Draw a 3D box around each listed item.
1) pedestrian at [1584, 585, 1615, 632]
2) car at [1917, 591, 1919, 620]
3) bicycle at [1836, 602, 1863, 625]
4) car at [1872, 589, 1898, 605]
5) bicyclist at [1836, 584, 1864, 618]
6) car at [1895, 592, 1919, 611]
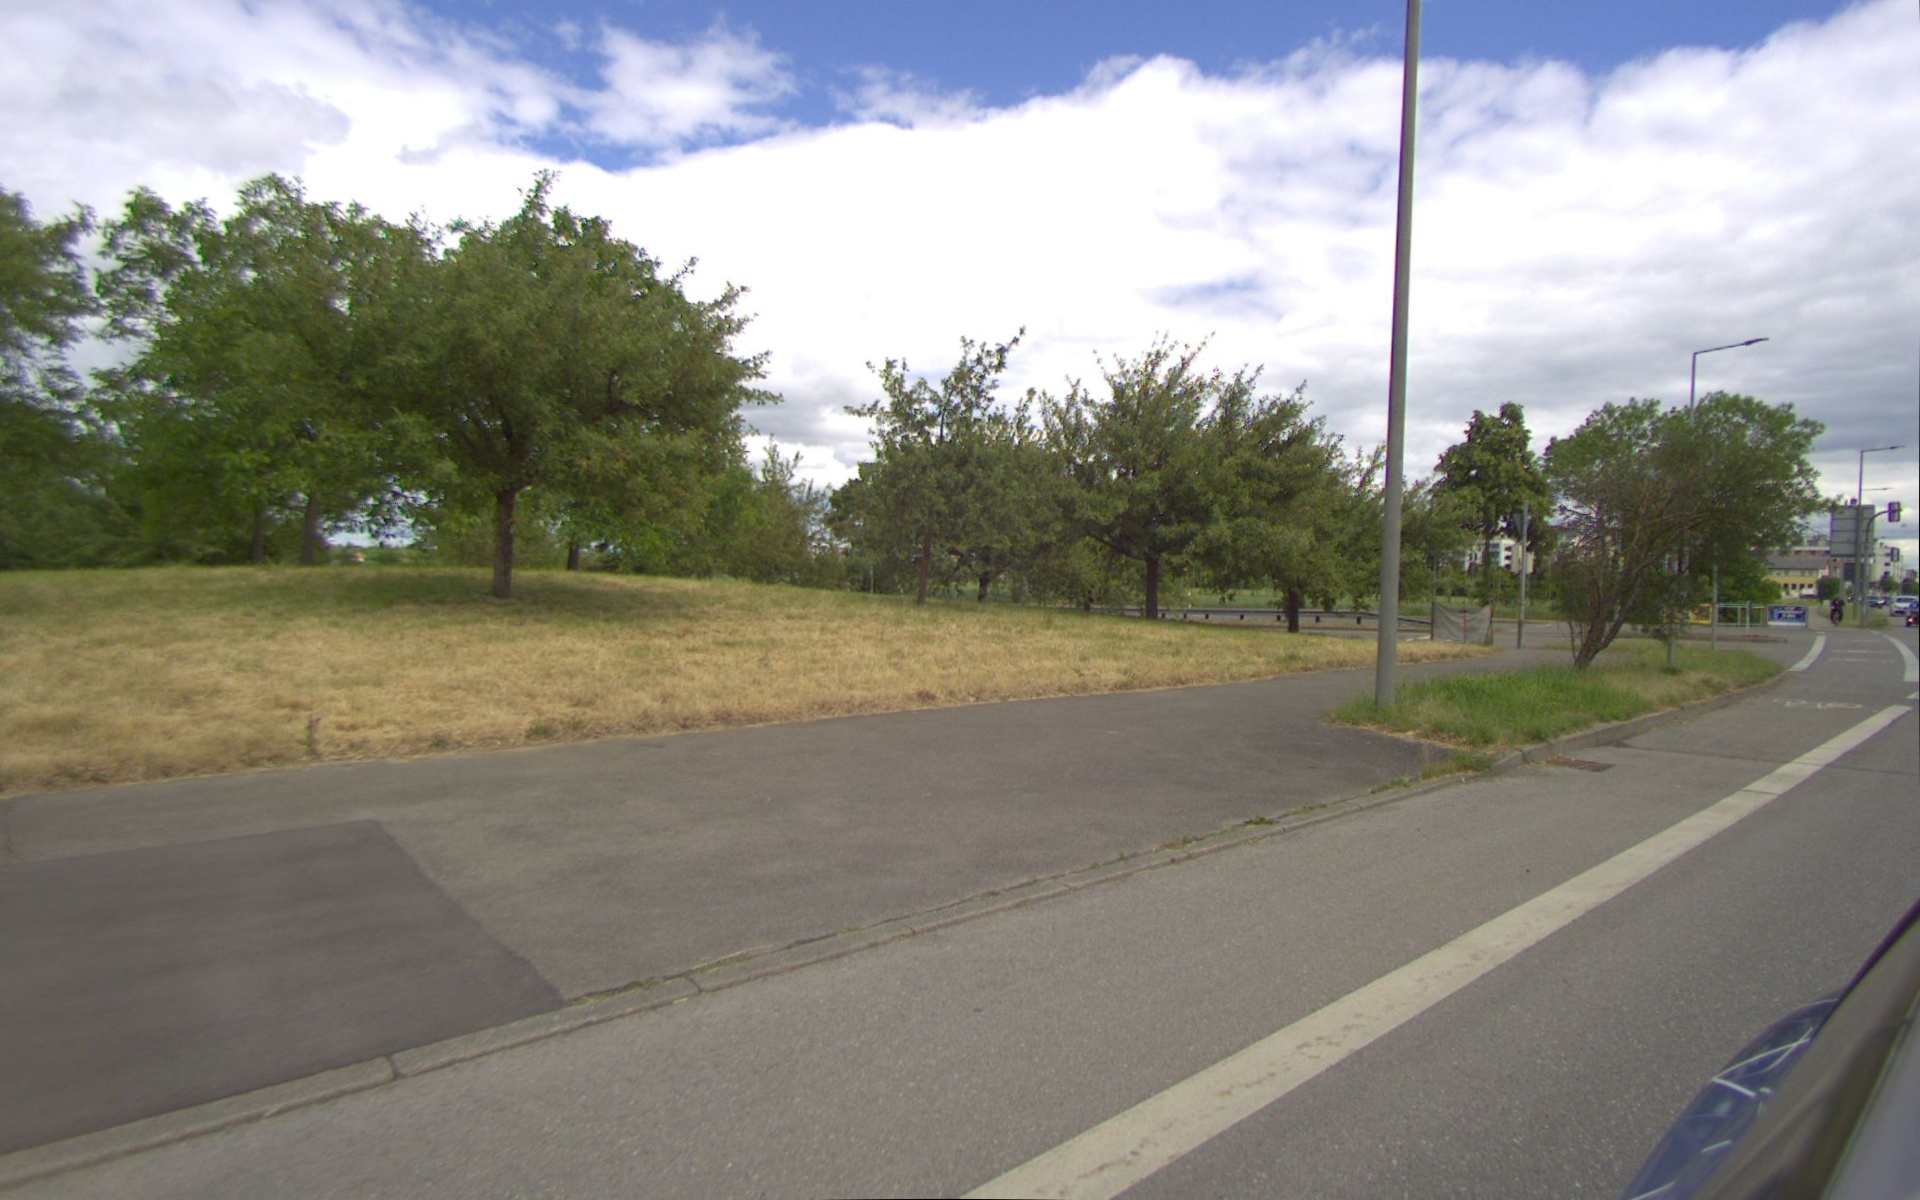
[{"bbox_3d":[26.142,0.341,41.377,0.750,1.907,0.802,0,0,-16],"label":"pedestrian"},{"bbox_3d":[51.493,0.293,53.079,4.297,1.459,1.732,0,1,-45],"label":"car"},{"bbox_3d":[47.130,0.703,53.636,1.013,1.148,2.636,2,2,40],"label":"bicycle"},{"bbox_3d":[101.992,-0.330,111.581,1.865,1.716,4.308,1,1,40],"label":"car"},{"bbox_3d":[47.174,0.039,53.658,1.013,1.729,1.183,2,2,41],"label":"bicyclist"},{"bbox_3d":[72.702,0.095,77.409,1.731,1.459,4.300,1,1,43],"label":"car"}]
